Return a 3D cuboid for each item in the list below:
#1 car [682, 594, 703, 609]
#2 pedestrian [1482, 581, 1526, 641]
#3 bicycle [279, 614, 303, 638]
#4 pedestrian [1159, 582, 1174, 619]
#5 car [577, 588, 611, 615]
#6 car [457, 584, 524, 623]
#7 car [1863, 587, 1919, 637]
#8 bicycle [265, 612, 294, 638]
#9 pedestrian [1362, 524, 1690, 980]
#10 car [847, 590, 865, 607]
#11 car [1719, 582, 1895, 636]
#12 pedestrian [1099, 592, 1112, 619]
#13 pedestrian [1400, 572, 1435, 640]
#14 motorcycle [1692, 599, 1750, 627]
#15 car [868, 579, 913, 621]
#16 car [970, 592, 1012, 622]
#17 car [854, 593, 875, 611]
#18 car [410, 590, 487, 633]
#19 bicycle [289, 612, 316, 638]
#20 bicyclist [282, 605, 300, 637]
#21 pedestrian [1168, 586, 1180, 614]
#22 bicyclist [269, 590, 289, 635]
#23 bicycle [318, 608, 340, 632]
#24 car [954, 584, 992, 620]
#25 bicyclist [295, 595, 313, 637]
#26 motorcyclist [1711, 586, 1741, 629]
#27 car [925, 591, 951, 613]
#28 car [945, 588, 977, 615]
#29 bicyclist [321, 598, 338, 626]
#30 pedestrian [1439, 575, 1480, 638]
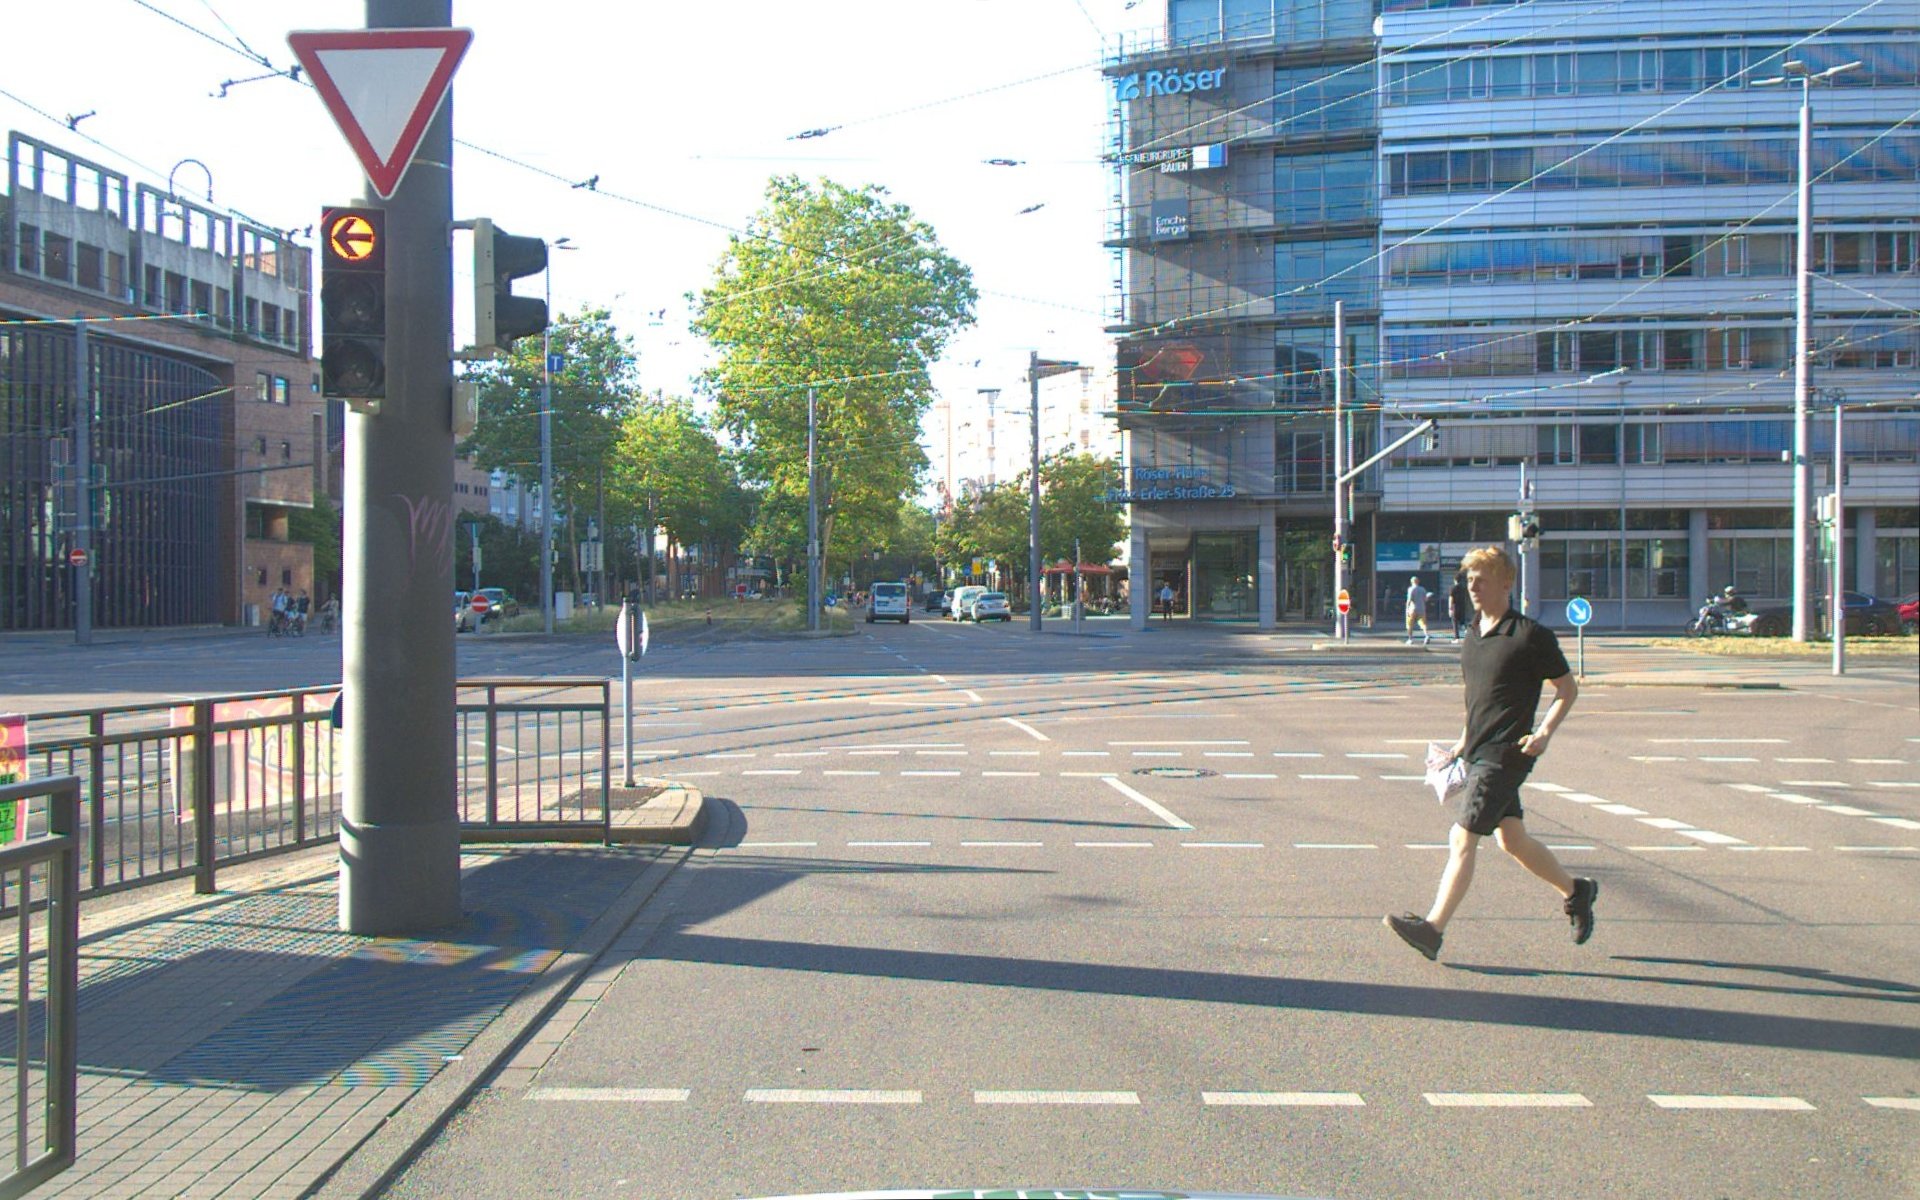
[{"bbox_3d":[-32.945,0.161,203.792,1.953,1.847,3.999,-1,0,-1],"label":"car"},{"bbox_3d":[14.649,0.279,44.543,0.928,1.591,0.897,-1,0,6],"label":"pedestrian"},{"bbox_3d":[-27.645,1.068,68.341,0.458,0.980,1.320,-1,0,-1],"label":"bicycle"},{"bbox_3d":[8.715,0.014,69.679,0.599,1.534,0.579,-1,0,7],"label":"pedestrian"},{"bbox_3d":[-28.488,0.122,128.950,1.954,2.049,3.997,-1,0,-3],"label":"car"},{"bbox_3d":[-21.122,0.143,74.593,1.953,1.668,3.999,-1,0,-2],"label":"car"},{"bbox_3d":[29.536,0.305,49.559,3.903,1.418,1.786,-2,0,4],"label":"car"},{"bbox_3d":[-26.830,0.989,65.230,0.531,0.980,1.586,-1,0,-1],"label":"bicycle"},{"bbox_3d":[2.348,0.593,6.930,1.070,1.779,0.740,0,0,-13],"label":"pedestrian"},{"bbox_3d":[-12.796,-0.243,203.077,1.953,2.049,3.999,-1,0,-1],"label":"car"},{"bbox_3d":[24.021,0.244,47.032,4.070,1.423,1.786,-1,0,4],"label":"car"},{"bbox_3d":[9.236,0.346,105.091,0.729,1.744,0.612,-1,0,-1],"label":"pedestrian"},{"bbox_3d":[12.443,0.151,45.003,0.845,1.820,0.872,-1,0,20],"label":"pedestrian"},{"bbox_3d":[22.933,0.399,49.856,1.535,0.824,0.467,-1,0,3],"label":"motorcycle"},{"bbox_3d":[-3.212,-0.003,77.302,1.921,1.881,5.330,-1,0,0],"label":"car"},{"bbox_3d":[1.535,0.336,82.787,1.953,1.400,3.999,-1,0,-1],"label":"car"},{"bbox_3d":[-8.472,0.184,146.761,1.762,1.467,3.998,1,0,-3],"label":"car"},{"bbox_3d":[-20.669,0.443,67.034,1.953,1.668,3.999,-1,0,-2],"label":"car"},{"bbox_3d":[-25.949,0.966,65.296,0.463,0.980,1.575,-1,0,-1],"label":"bicycle"},{"bbox_3d":[-27.631,0.859,68.355,0.495,1.327,0.581,-1,0,-1],"label":"bicyclist"},{"bbox_3d":[11.520,-0.005,89.153,0.599,1.534,0.579,-1,0,7],"label":"pedestrian"},{"bbox_3d":[-26.830,0.477,65.144,0.525,1.761,0.581,-1,0,-1],"label":"bicyclist"},{"bbox_3d":[-27.120,0.864,71.069,0.442,0.980,1.347,-1,0,-1],"label":"bicycle"},{"bbox_3d":[0.686,0.115,89.572,1.953,1.892,3.999,-1,0,-1],"label":"car"},{"bbox_3d":[-25.925,0.622,65.391,0.449,1.631,0.581,-1,0,-1],"label":"bicyclist"},{"bbox_3d":[23.082,0.228,49.849,0.697,1.298,0.460,-1,0,3],"label":"motorcyclist"},{"bbox_3d":[-1.680,0.129,126.632,1.953,1.646,3.999,-1,0,-1],"label":"car"},{"bbox_3d":[0.035,0.069,105.209,1.953,1.646,3.999,-1,0,-1],"label":"car"},{"bbox_3d":[-27.145,0.509,71.198,0.495,1.199,0.581,-1,0,-1],"label":"bicyclist"},{"bbox_3d":[13.776,0.177,45.635,0.893,1.714,1.036,-1,0,6],"label":"pedestrian"}]
